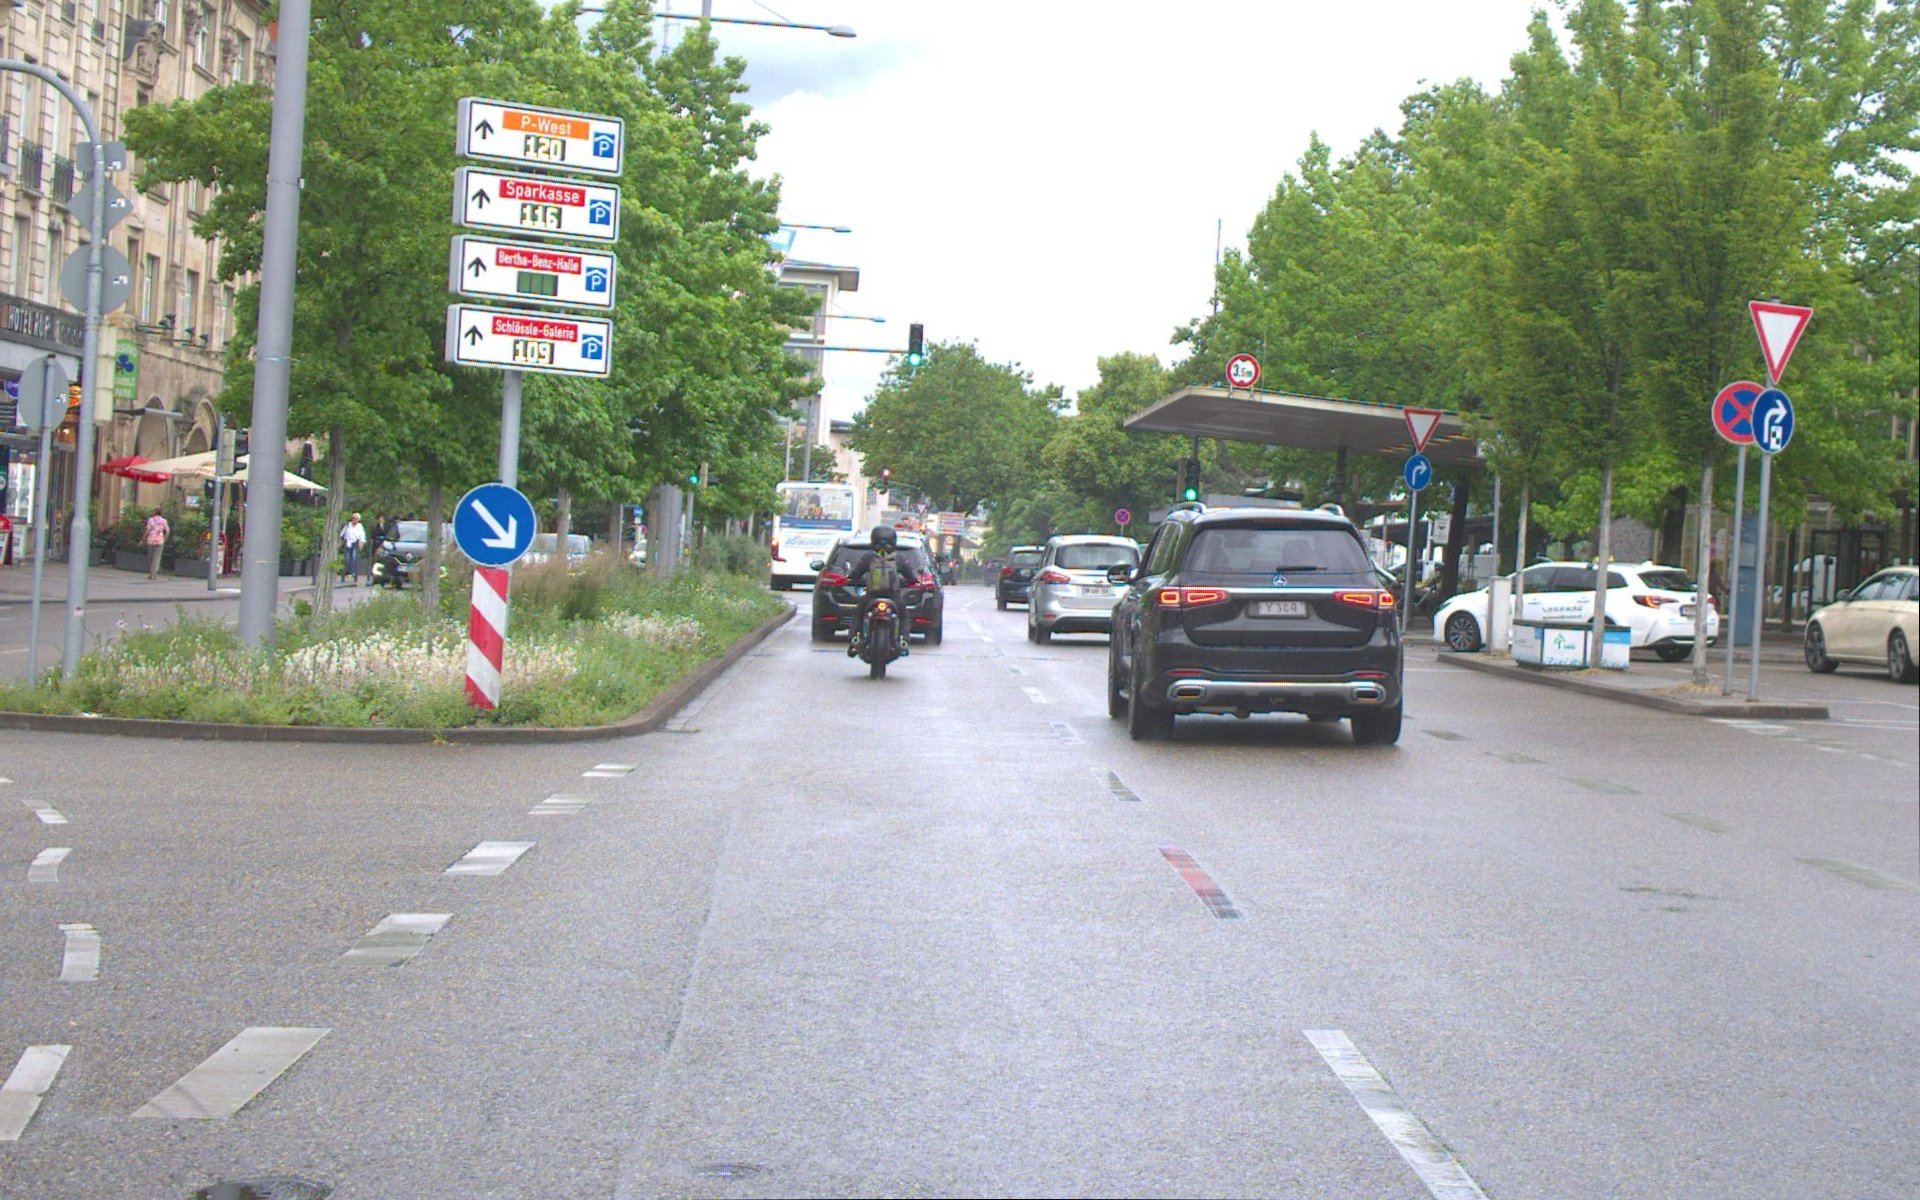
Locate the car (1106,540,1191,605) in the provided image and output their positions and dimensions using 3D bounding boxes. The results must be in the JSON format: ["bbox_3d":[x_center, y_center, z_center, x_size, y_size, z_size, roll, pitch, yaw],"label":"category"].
[{"bbox_3d":[4.659,-0.706,85.421,1.816,1.525,4.000,1,1,-1],"label":"car"}]

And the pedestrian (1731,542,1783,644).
[{"bbox_3d":[15.823,-0.142,68.279,0.769,2.007,0.828,1,1,-2],"label":"pedestrian"}]

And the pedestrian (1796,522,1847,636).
[{"bbox_3d":[18.455,-0.460,73.640,0.843,2.403,0.862,1,1,1],"label":"pedestrian"}]

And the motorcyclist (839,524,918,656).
[{"bbox_3d":[-0.834,-0.110,35.497,0.764,1.327,0.866,2,1,0],"label":"motorcyclist"}]

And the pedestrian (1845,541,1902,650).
[{"bbox_3d":[17.091,-0.090,64.349,0.769,2.007,0.828,1,1,-2],"label":"pedestrian"}]

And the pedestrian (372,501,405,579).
[{"bbox_3d":[-14.856,-1.558,89.338,0.757,2.007,0.833,1,1,-7],"label":"pedestrian"}]

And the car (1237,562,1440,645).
[{"bbox_3d":[9.061,0.074,82.303,4.335,1.851,2.001,1,1,-20],"label":"car"}]

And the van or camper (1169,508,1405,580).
[{"bbox_3d":[9.812,-1.655,102.954,6.753,2.007,2.385,1,0,-26],"label":"van or camper"}]

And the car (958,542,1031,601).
[{"bbox_3d":[0.970,-0.834,99.149,1.810,1.637,3.904,2,1,-3],"label":"car"}]

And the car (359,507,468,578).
[{"bbox_3d":[-12.254,-1.288,77.308,1.771,1.525,4.079,1,1,0],"label":"car"}]

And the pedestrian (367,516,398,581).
[{"bbox_3d":[-15.008,-1.337,89.366,0.674,1.696,0.634,1,1,-1],"label":"pedestrian"}]

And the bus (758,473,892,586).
[{"bbox_3d":[-4.038,-2.163,106.777,3.760,3.198,15.527,1,1,-1],"label":"bus"}]

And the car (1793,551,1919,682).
[{"bbox_3d":[12.609,0.190,44.322,1.993,1.594,4.824,1,1,-7],"label":"car"}]

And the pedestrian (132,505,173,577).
[{"bbox_3d":[-17.099,-1.255,72.822,0.661,1.505,0.519,1,1,-38],"label":"pedestrian"}]

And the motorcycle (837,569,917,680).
[{"bbox_3d":[-0.843,0.233,35.399,0.766,1.073,2.175,2,1,0],"label":"motorcycle"}]

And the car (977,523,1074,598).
[{"bbox_3d":[1.440,-0.900,76.688,1.810,1.576,3.904,2,1,-3],"label":"car"}]

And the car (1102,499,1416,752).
[{"bbox_3d":[2.263,0.134,27.259,1.993,1.800,4.690,1,1,-1],"label":"car"}]

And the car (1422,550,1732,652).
[{"bbox_3d":[9.117,-0.009,51.099,1.774,1.380,4.366,0,1,-41],"label":"car"}]

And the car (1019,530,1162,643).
[{"bbox_3d":[1.865,-0.224,50.186,1.851,1.562,4.000,1,1,-1],"label":"car"}]

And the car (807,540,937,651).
[{"bbox_3d":[-1.195,-0.090,47.739,1.708,1.443,4.000,1,1,-1],"label":"car"}]
